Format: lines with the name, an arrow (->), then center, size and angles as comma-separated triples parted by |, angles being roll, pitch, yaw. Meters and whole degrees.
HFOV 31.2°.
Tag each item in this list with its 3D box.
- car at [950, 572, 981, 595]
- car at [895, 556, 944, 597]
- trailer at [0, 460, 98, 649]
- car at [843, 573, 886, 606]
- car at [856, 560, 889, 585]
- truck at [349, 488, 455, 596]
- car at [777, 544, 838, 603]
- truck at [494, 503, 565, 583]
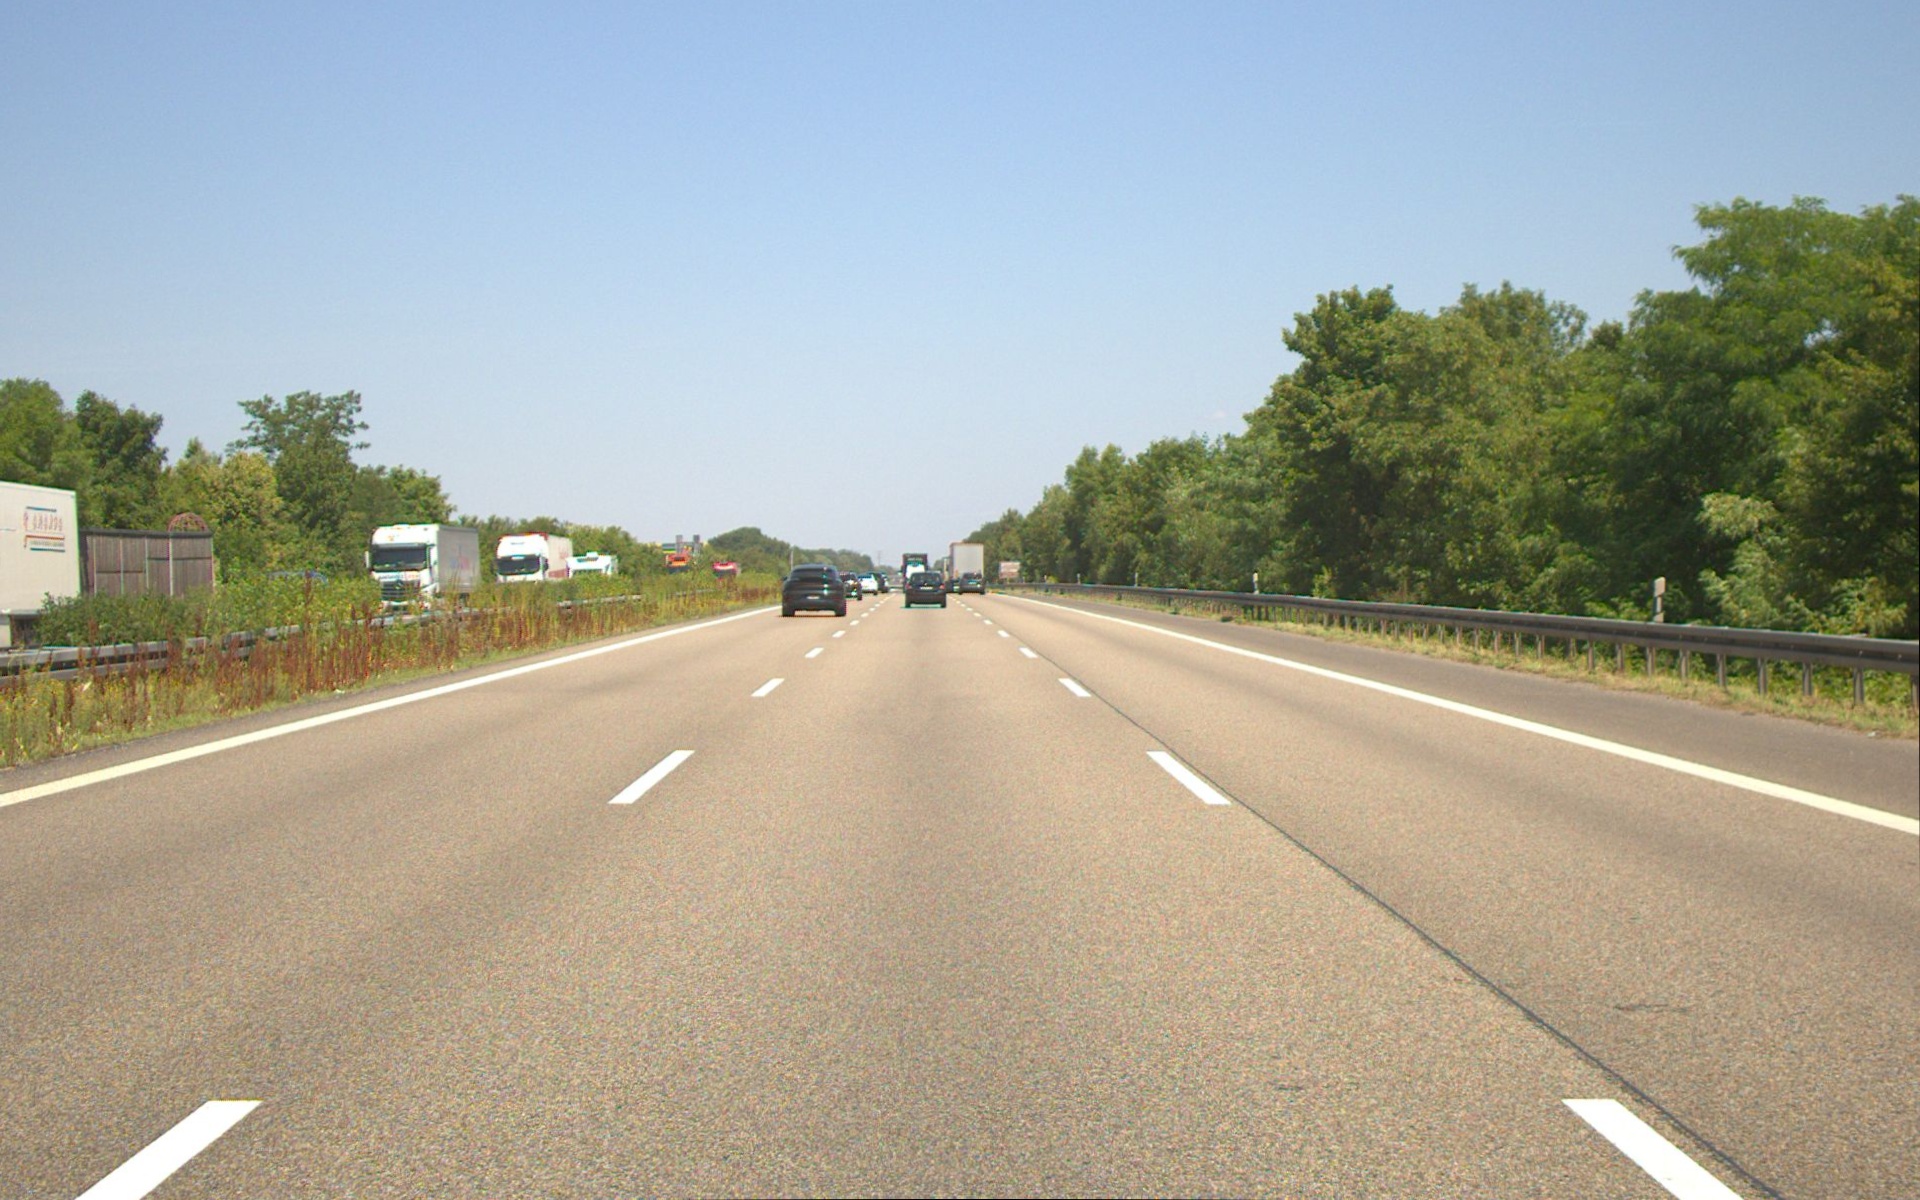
car -> 0.379, -1.167, 245.857 | 2.128, 1.578, 4.304 | -1, 0, 0
car -> -1.613, -0.943, 138.926 | 1.903, 1.578, 4.304 | -1, 0, 0
trailer -> -22.557, -0.976, 76.296 | 3.610, 4.089, 12.797 | -1, 1, 0
car -> -4.981, -0.555, 179.948 | 2.128, 1.640, 4.304 | -1, 0, 0
car -> -5.986, -1.887, 236.228 | 2.128, 1.640, 4.304 | -1, 0, 0
truck -> -23.594, -2.423, 145.807 | 3.217, 4.424, 7.871 | 0, 1, 0
car -> -4.863, -0.862, 109.963 | 1.880, 1.786, 4.001 | -1, 2, -2
truck -> -22.996, -3.021, 184.001 | 2.842, 4.192, 7.715 | 0, 1, 0
